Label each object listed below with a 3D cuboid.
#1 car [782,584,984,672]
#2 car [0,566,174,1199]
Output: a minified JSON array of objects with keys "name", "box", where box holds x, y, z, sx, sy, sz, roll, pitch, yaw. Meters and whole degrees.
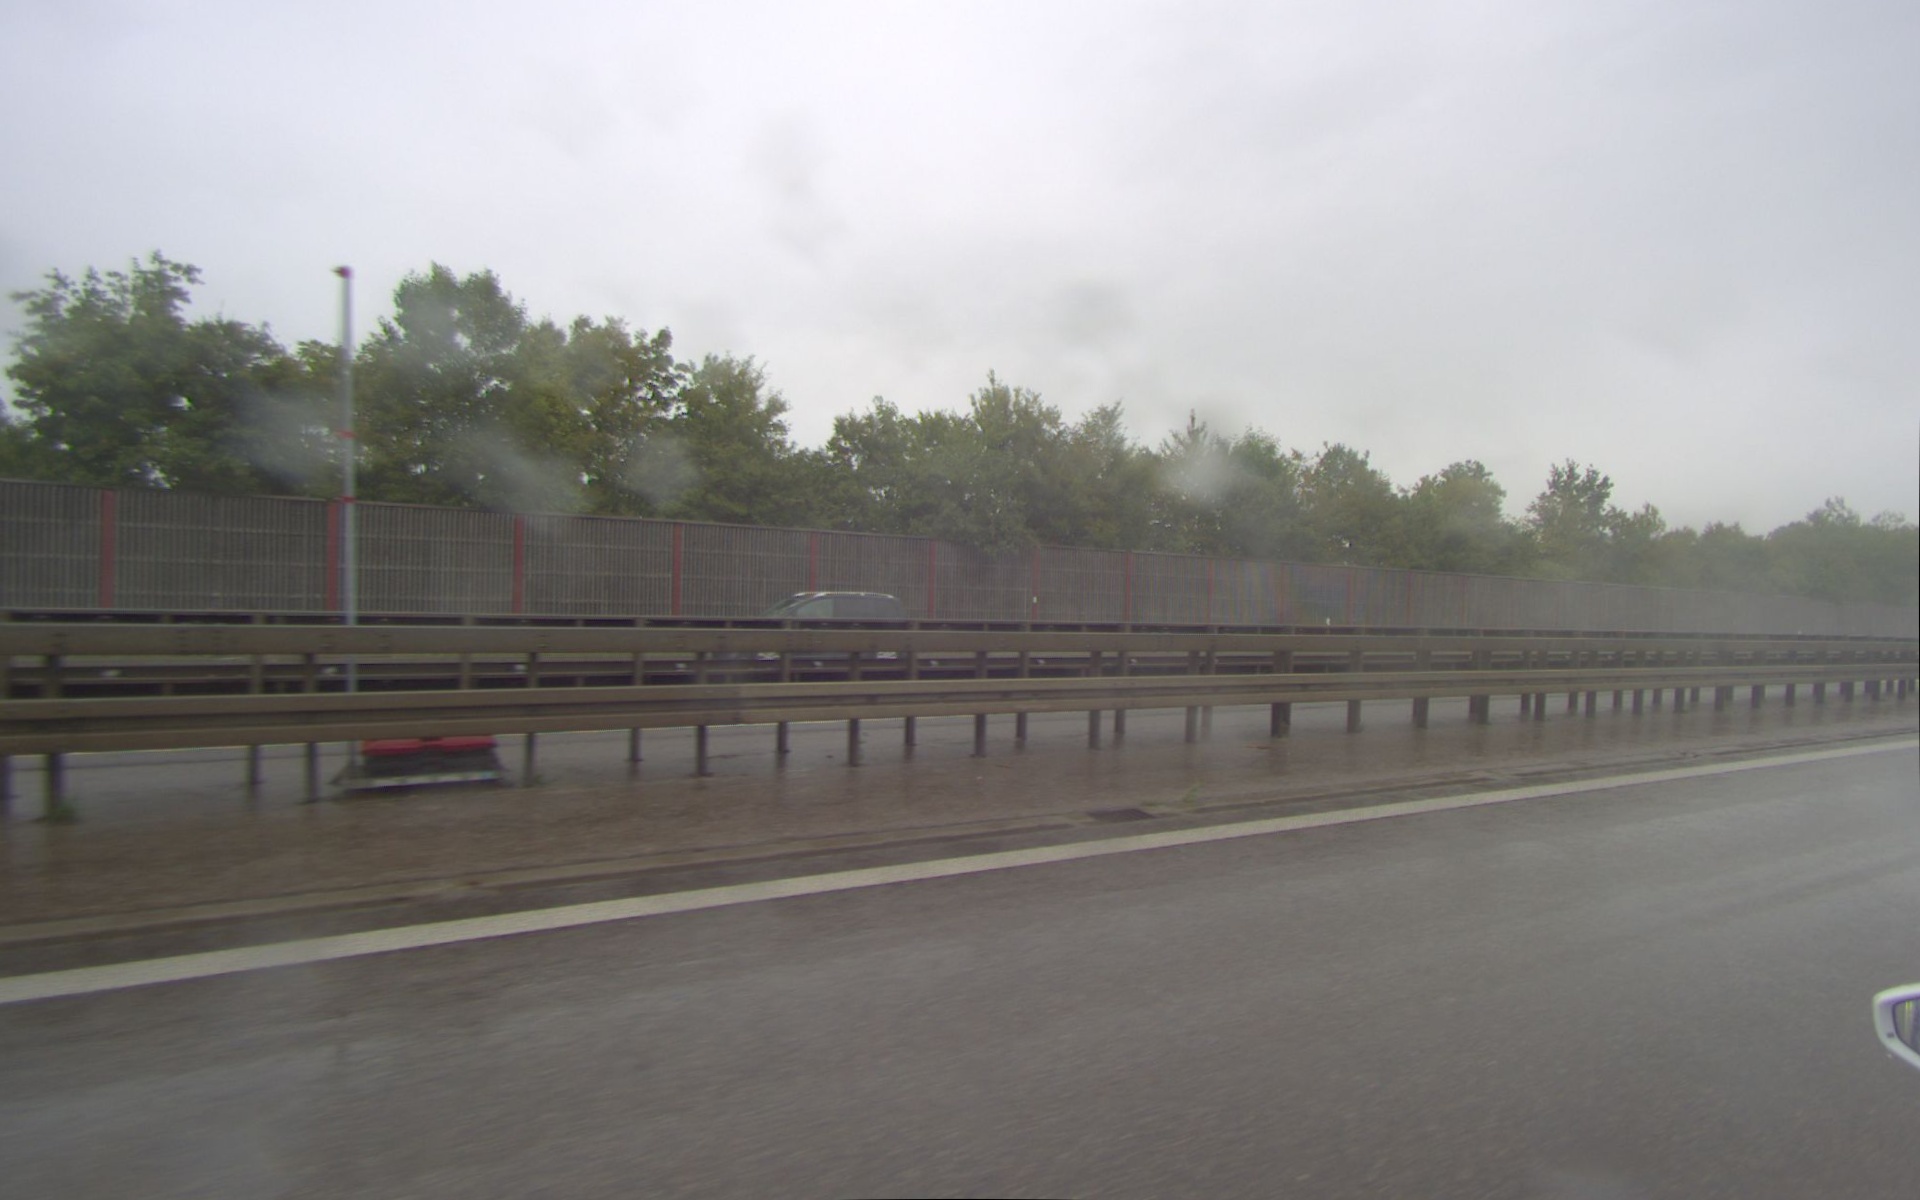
[{"name":"car","box":[-1.668,0.601,22.047,3.954,1.758,1.984,1,0,-31]},{"name":"car","box":[-4.361,0.634,1.207,5.097,1.505,2.044,1,0,-30]}]
